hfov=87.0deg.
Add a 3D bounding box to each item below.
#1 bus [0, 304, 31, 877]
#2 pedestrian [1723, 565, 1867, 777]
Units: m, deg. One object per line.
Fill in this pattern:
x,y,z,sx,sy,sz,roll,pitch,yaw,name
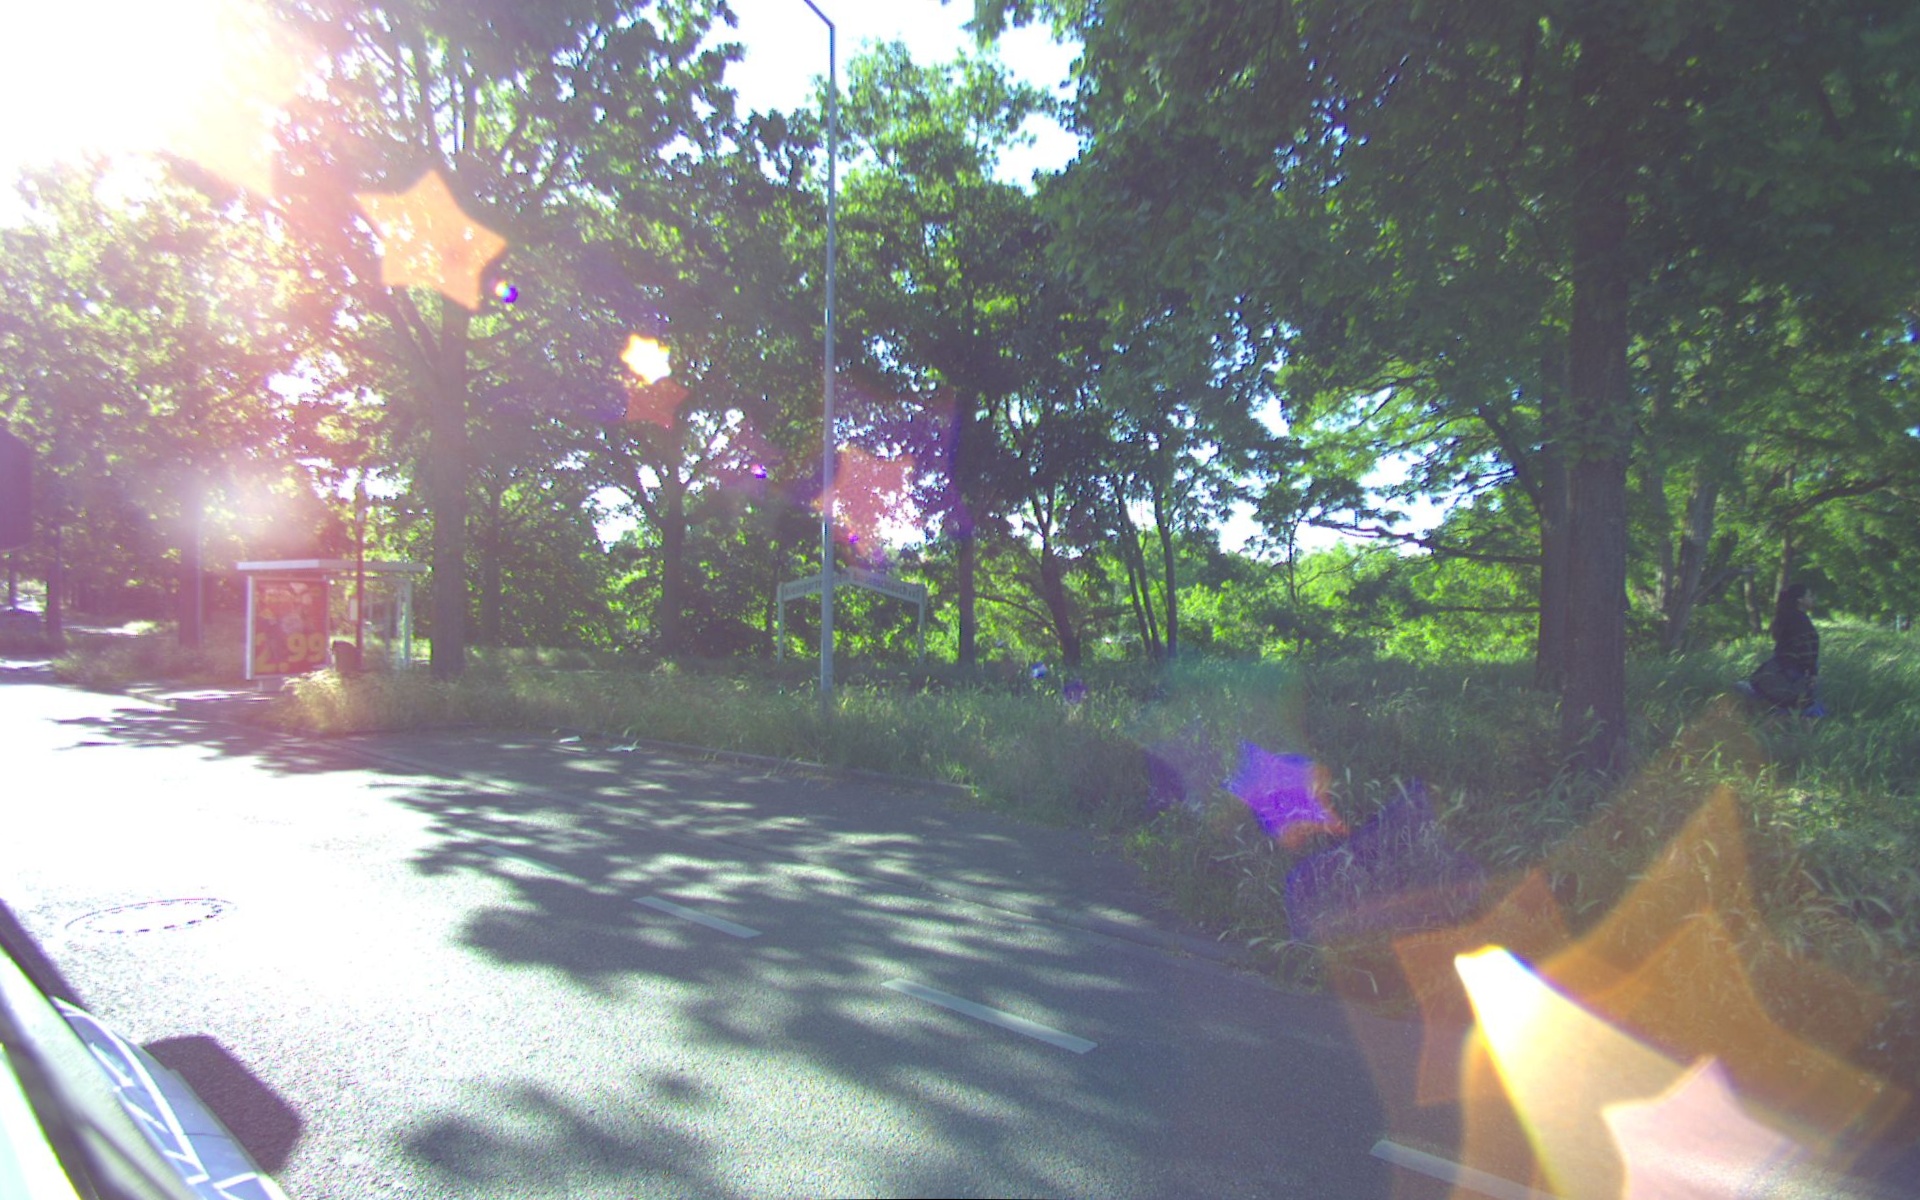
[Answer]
-10.771,0.063,8.467,12.883,3.005,2.755,-1,-1,40,bus
7.221,0.573,8.752,0.891,1.701,0.903,-1,-1,42,pedestrian
